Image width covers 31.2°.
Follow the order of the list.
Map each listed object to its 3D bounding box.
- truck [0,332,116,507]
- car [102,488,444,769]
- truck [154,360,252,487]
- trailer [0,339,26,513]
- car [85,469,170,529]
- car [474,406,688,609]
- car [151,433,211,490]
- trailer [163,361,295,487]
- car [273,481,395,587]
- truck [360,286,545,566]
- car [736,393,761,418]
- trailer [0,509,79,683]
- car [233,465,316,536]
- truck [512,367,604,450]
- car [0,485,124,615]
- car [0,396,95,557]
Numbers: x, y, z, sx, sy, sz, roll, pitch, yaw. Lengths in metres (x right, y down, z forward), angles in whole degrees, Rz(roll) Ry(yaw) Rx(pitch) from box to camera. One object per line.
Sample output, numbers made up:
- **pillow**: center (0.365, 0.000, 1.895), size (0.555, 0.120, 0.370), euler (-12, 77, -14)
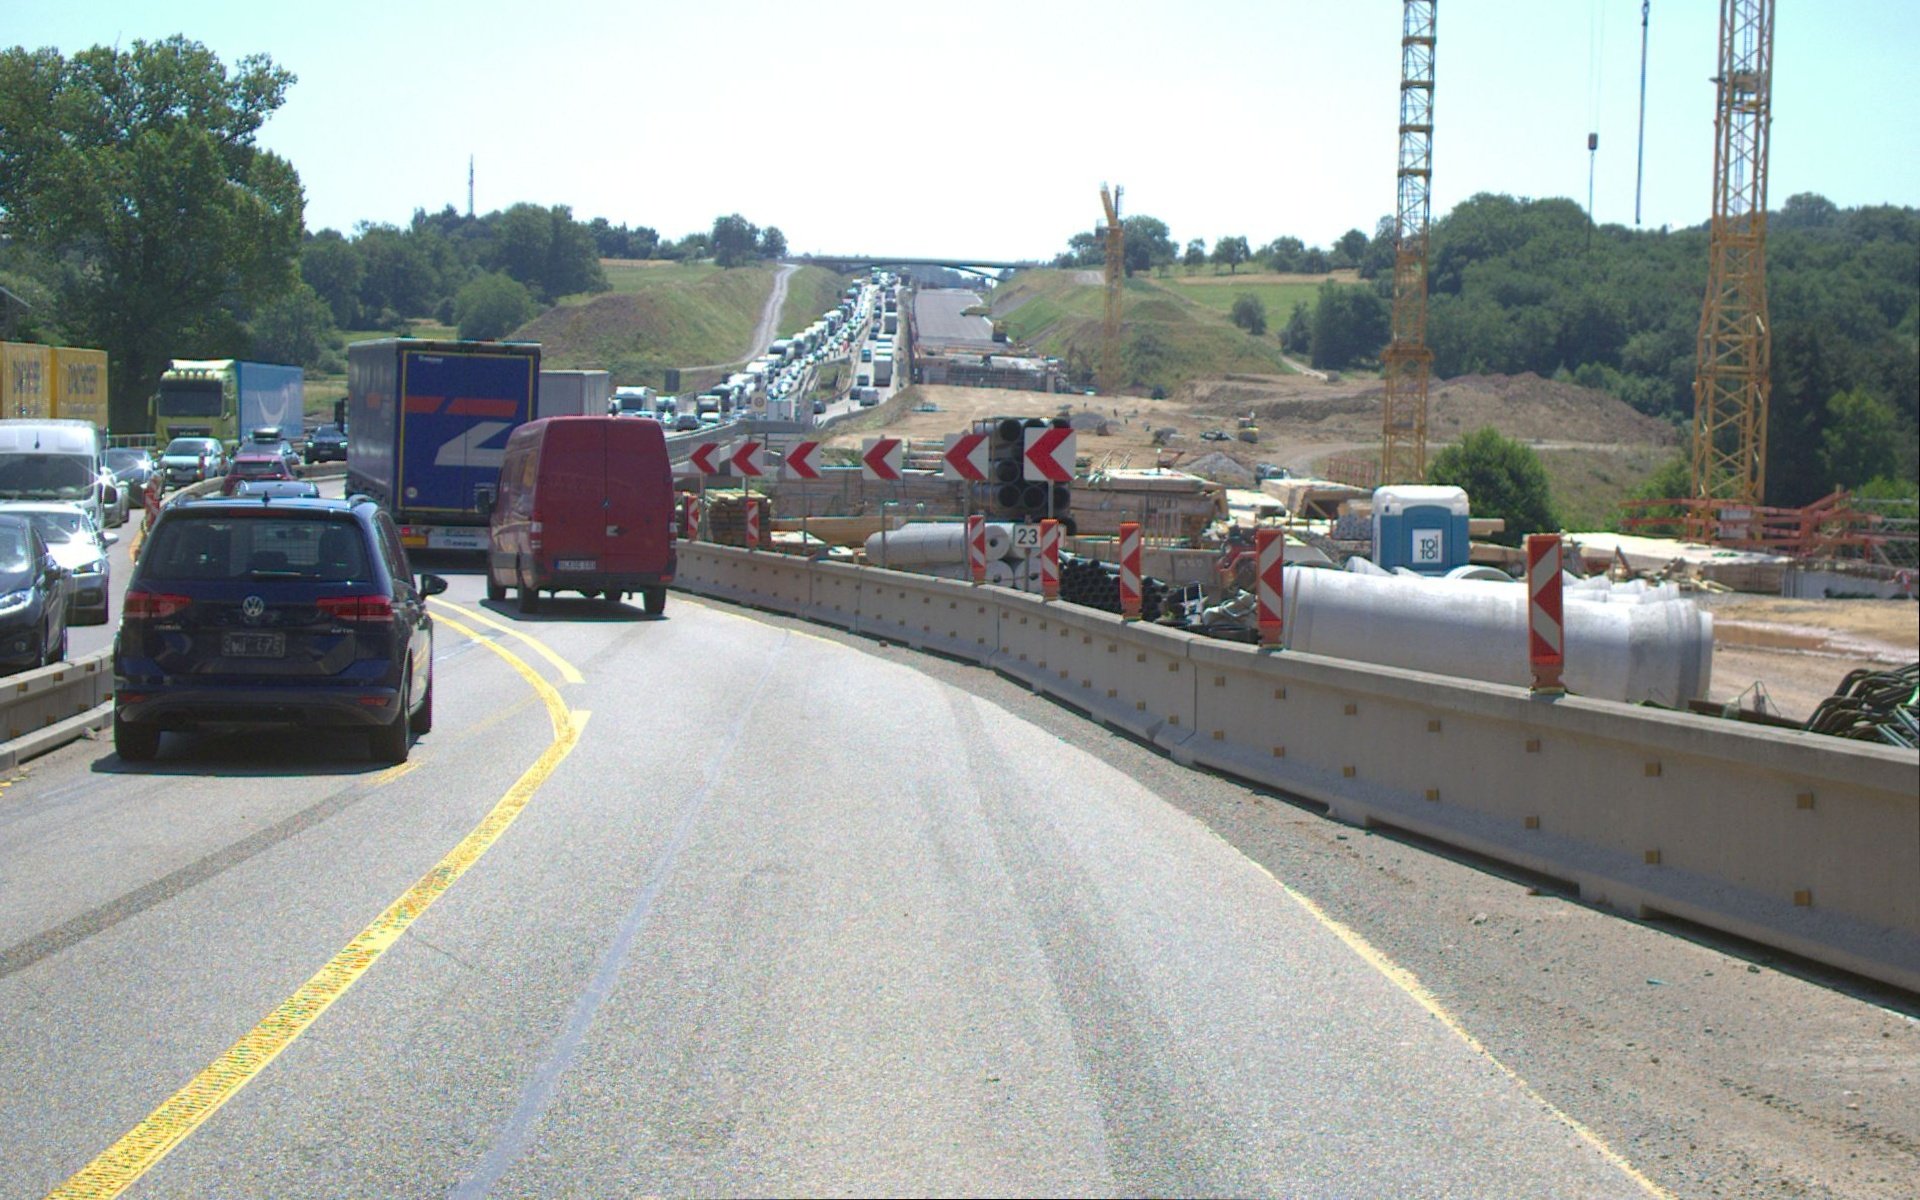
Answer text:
- **truck**: center (-25.487, -4.839, 92.651), size (2.806, 4.327, 15.379), euler (1, 2, -5)
- **car**: center (-4.380, 0.111, 22.475), size (1.733, 1.630, 4.390), euler (1, 1, -5)
- **truck**: center (-26.464, -6.160, 120.318), size (2.625, 4.255, 4.733), euler (2, 2, -5)
- **trailer**: center (-24.716, -4.262, 83.839), size (2.865, 4.214, 5.220), euler (1, 2, -6)
- **car**: center (-21.028, -2.577, 86.948), size (1.676, 1.357, 4.505), euler (1, 3, -9)
- **car**: center (-5.325, -1.289, 47.607), size (2.149, 2.602, 5.440), euler (1, 1, -14)
- **car**: center (-22.713, -4.060, 100.319), size (1.636, 1.480, 4.002), euler (1, 4, -12)
- **trailer**: center (-26.898, -6.448, 127.091), size (2.647, 4.277, 13.312), euler (2, 2, -3)
- **car**: center (-10.151, -1.108, 55.958), size (1.833, 1.629, 4.391), euler (1, 2, -9)
- **truck**: center (-9.623, -3.276, 64.682), size (2.944, 4.928, 6.744), euler (1, 3, -12)
- **car**: center (-14.655, -13.480, 238.329), size (1.617, 1.693, 3.891), euler (2, 3, -2)
- **trailer**: center (-8.730, -0.079, 30.172), size (1.664, 1.426, 4.001), euler (1, 1, -11)
- **car**: center (-16.295, -2.390, 81.867), size (1.833, 1.629, 4.107), euler (1, 2, -10)
- **truck**: center (-17.303, -8.219, 148.462), size (3.183, 2.967, 8.900), euler (1, -1, -2)
- **car**: center (-11.487, -0.667, 42.906), size (1.844, 1.459, 4.525), euler (1, 2, -11)
- **car**: center (-15.451, -1.993, 56.996), size (2.070, 2.495, 6.486), euler (1, 1, -14)
